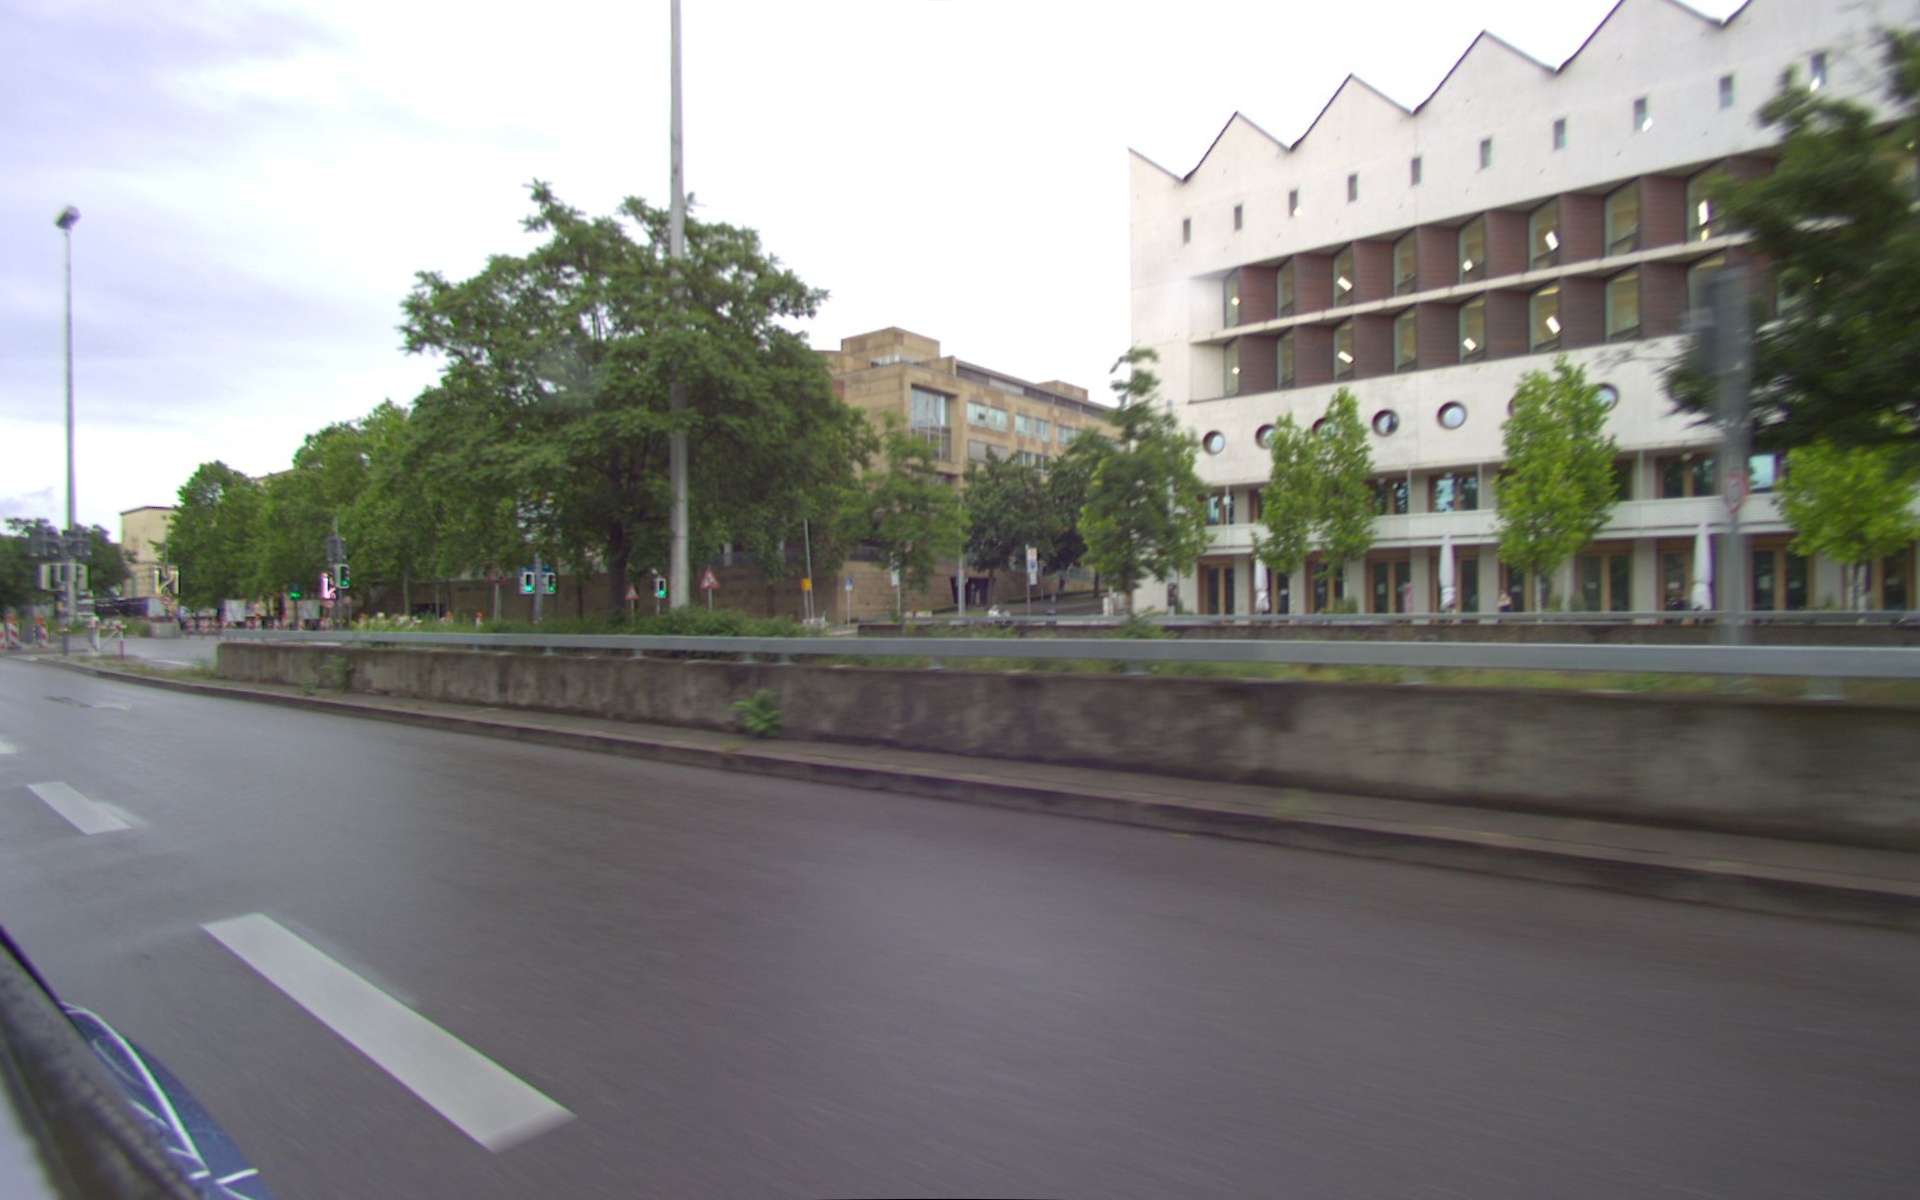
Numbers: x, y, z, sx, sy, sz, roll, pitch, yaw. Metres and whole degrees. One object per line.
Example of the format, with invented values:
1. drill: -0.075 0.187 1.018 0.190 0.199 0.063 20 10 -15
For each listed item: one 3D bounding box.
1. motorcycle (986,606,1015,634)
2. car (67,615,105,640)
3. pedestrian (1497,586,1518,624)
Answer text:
1. motorcycle: 1.833 0.899 45.794 0.603 1.191 1.800 -1 0 26
2. car: -82.804 2.590 95.895 4.223 2.316 1.974 -1 0 38
3. pedestrian: 22.074 0.209 40.802 0.649 1.526 0.672 -1 0 36
